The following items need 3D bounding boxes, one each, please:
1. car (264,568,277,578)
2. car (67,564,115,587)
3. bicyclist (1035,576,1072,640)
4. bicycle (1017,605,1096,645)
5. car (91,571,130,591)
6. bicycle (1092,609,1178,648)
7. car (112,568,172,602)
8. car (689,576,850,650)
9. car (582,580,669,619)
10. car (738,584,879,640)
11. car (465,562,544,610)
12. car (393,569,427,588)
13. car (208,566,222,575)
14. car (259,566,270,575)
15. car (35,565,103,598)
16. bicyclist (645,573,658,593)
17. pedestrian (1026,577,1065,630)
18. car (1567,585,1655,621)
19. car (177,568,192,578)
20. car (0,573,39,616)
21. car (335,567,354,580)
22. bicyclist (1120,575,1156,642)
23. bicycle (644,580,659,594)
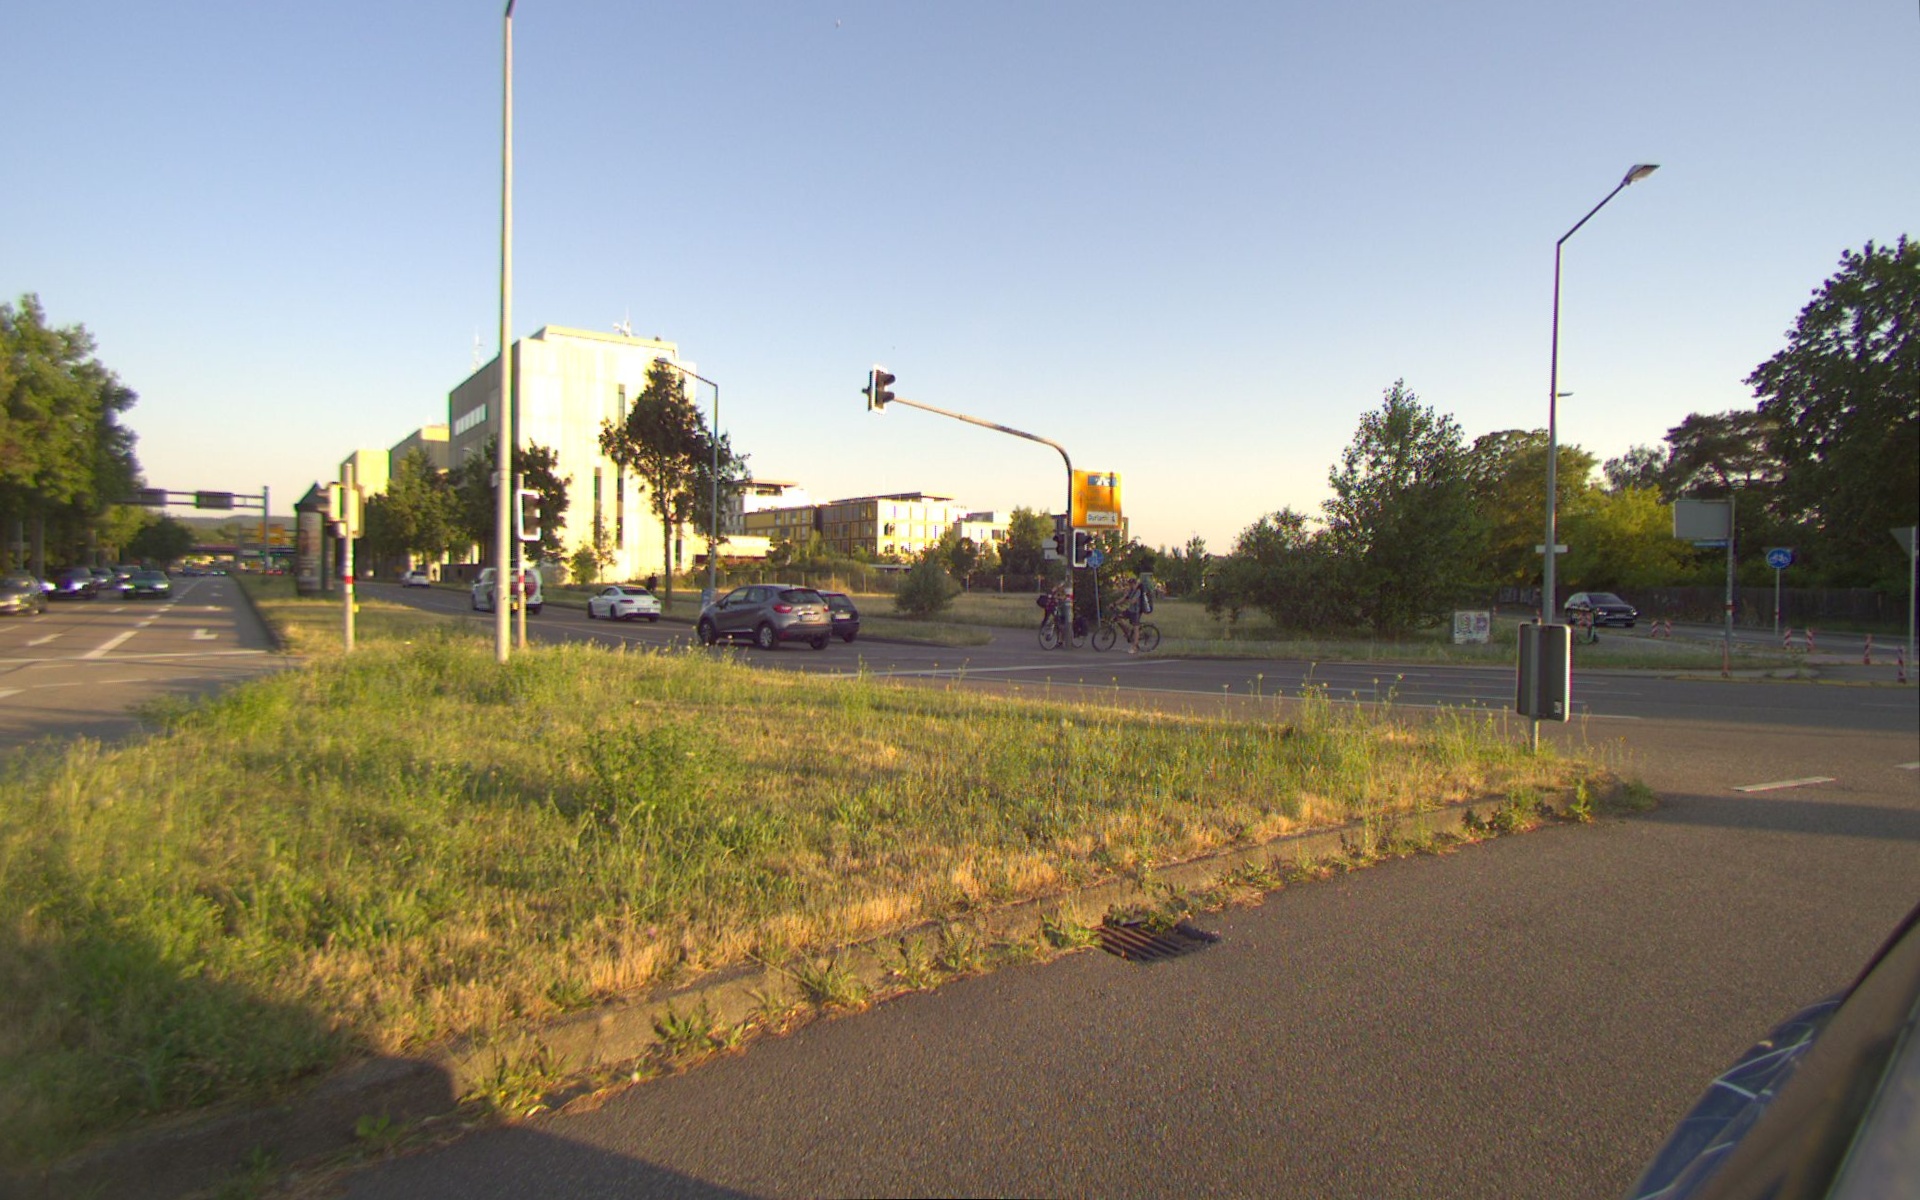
[{"bbox_3d":[-121.697,-4.780,178.609,1.962,1.805,4.001,0,1,-35],"label":"car"},{"bbox_3d":[-54.506,-1.535,63.534,1.832,1.407,4.164,0,1,-34],"label":"car"},{"bbox_3d":[2.523,0.210,27.334,0.675,1.711,0.726,0,1,-29],"label":"bicyclist"},{"bbox_3d":[2.609,0.661,27.352,2.065,0.975,0.711,-2,2,-27],"label":"bicycle"},{"bbox_3d":[-61.971,-1.419,73.843,1.832,1.407,4.163,0,1,-35],"label":"car"},{"bbox_3d":[4.537,0.734,26.248,2.100,0.975,0.711,1,1,-15],"label":"bicycle"},{"bbox_3d":[-42.640,-0.799,52.734,1.967,1.599,4.473,2,0,-45],"label":"car"},{"bbox_3d":[-4.783,0.252,25.111,3.986,1.649,1.969,2,1,43],"label":"car"},{"bbox_3d":[-13.458,-0.050,40.586,1.963,1.425,4.524,0,1,-37],"label":"car"},{"bbox_3d":[-4.468,0.305,29.458,1.968,1.445,4.186,0,1,-45],"label":"car"},{"bbox_3d":[-19.929,-0.628,44.177,2.030,1.971,4.958,0,1,-38],"label":"car"},{"bbox_3d":[-46.619,-1.852,85.752,1.962,1.528,5.186,0,1,-35],"label":"car"},{"bbox_3d":[-139.333,-5.552,189.254,1.963,1.524,4.771,0,1,-36],"label":"car"},{"bbox_3d":[-145.531,-6.186,211.755,1.962,1.805,4.001,0,1,-35],"label":"car"},{"bbox_3d":[-45.103,-0.937,51.336,1.961,1.593,4.418,0,1,-33],"label":"car"},{"bbox_3d":[-19.437,-1.077,63.816,0.606,1.272,0.735,0,1,-34],"label":"bicyclist"},{"bbox_3d":[2.716,0.103,32.037,0.981,1.610,0.919,1,1,25],"label":"pedestrian"},{"bbox_3d":[31.696,0.105,49.416,1.967,1.617,4.305,1,1,8],"label":"car"},{"bbox_3d":[-125.568,-4.398,163.903,1.881,1.603,4.178,0,1,-38],"label":"car"},{"bbox_3d":[-34.902,-0.246,36.833,1.853,1.482,4.665,0,1,-40],"label":"car"},{"bbox_3d":[-78.617,-3.330,129.262,1.960,1.593,4.004,0,1,-31],"label":"car"},{"bbox_3d":[4.609,0.211,26.269,0.674,1.711,0.727,1,1,-13],"label":"bicyclist"},{"bbox_3d":[-19.486,-0.809,63.898,0.487,0.837,1.515,0,1,-35],"label":"bicycle"}]
